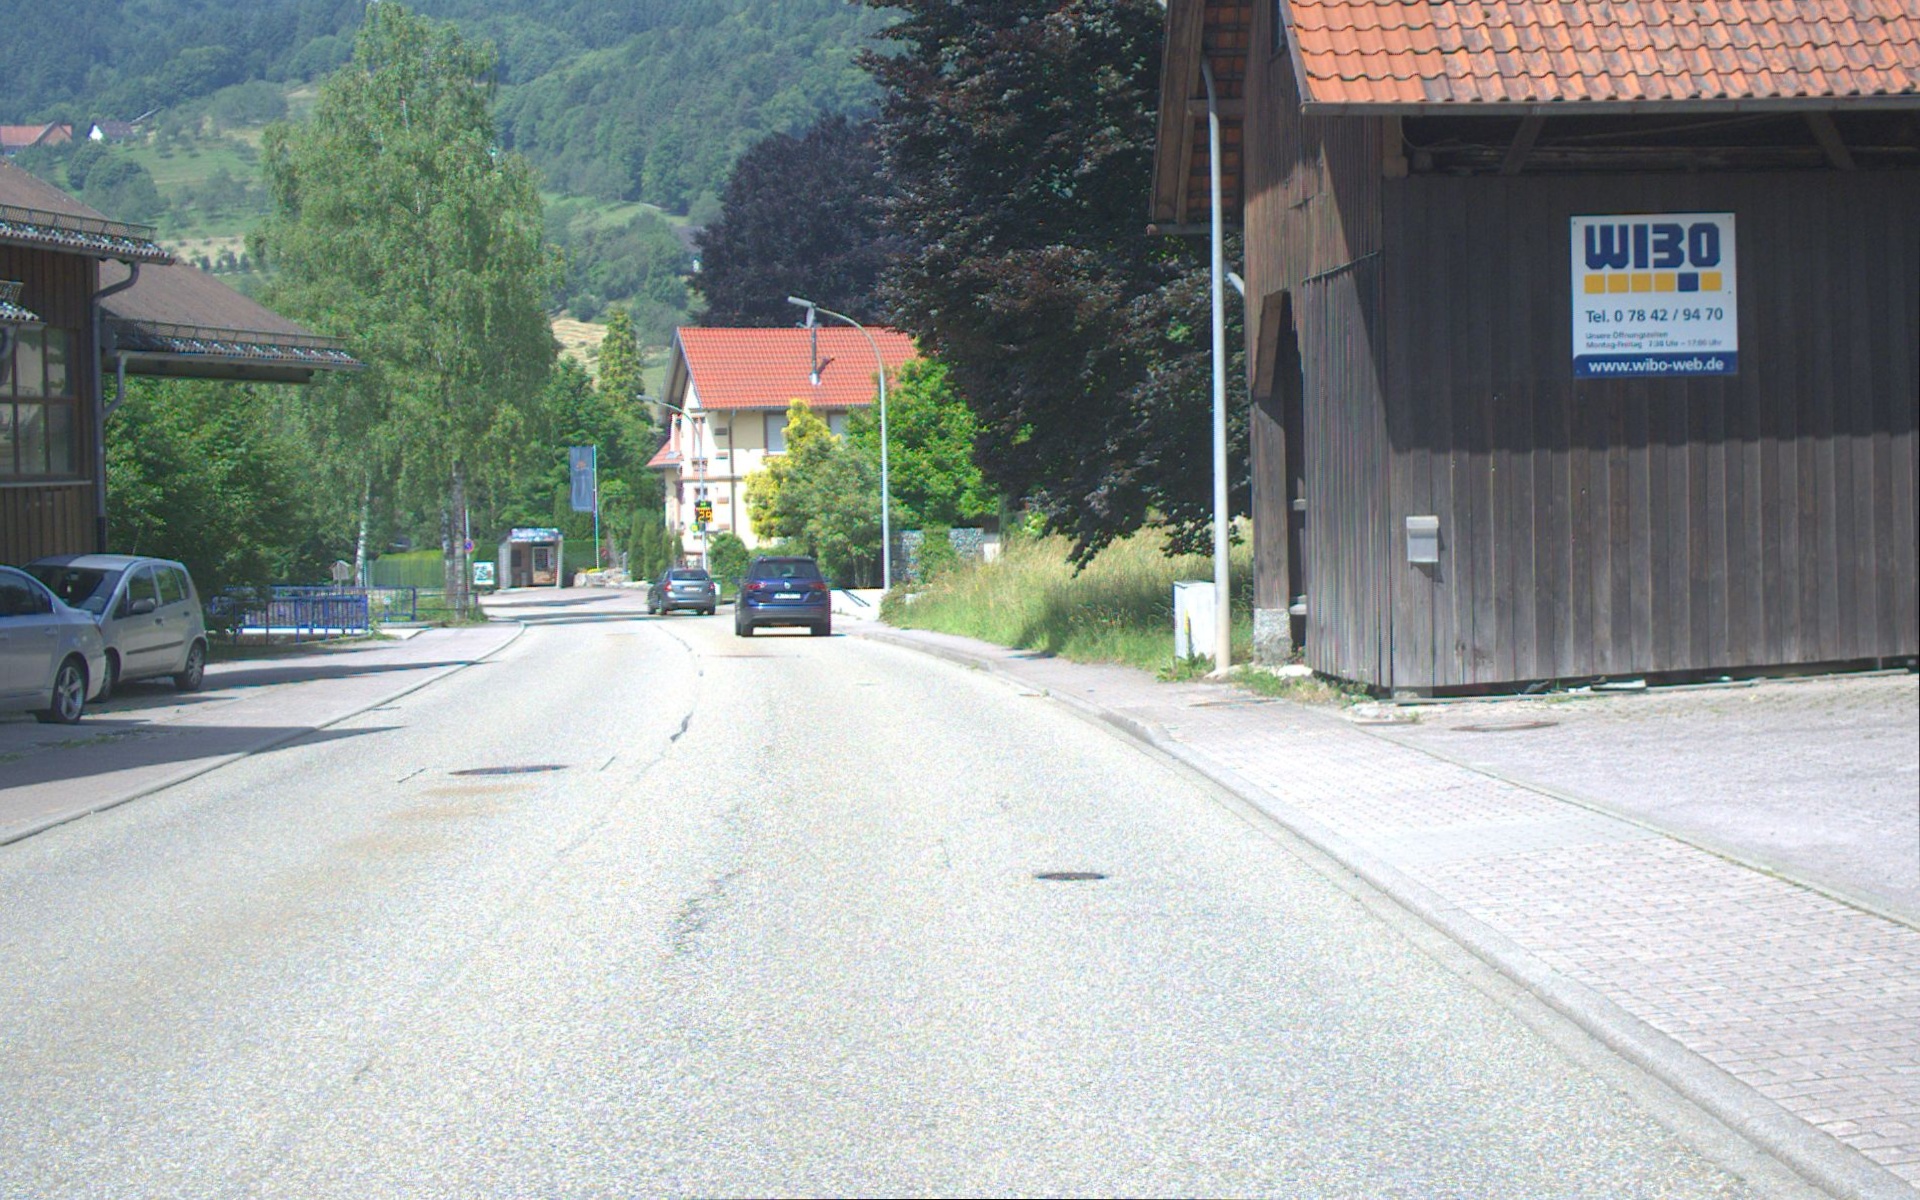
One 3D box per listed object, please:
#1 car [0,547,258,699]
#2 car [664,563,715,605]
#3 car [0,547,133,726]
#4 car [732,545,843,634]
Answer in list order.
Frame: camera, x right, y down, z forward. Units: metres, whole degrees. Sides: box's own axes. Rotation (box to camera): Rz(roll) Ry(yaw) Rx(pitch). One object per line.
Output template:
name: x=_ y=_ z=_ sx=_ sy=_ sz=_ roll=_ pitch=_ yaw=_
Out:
car: x=-9.517 y=0.214 z=39.091 sx=1.581 sy=1.564 sz=4.021 roll=2 pitch=2 yaw=10
car: x=-8.436 y=-0.504 z=107.061 sx=1.476 sy=1.205 sz=2.384 roll=-2 pitch=1 yaw=-6
car: x=-8.921 y=0.338 z=29.223 sx=1.730 sy=1.449 sz=4.802 roll=0 pitch=2 yaw=12
car: x=-3.534 y=-0.228 z=70.004 sx=1.919 sy=1.692 sz=3.789 roll=-2 pitch=1 yaw=-7
